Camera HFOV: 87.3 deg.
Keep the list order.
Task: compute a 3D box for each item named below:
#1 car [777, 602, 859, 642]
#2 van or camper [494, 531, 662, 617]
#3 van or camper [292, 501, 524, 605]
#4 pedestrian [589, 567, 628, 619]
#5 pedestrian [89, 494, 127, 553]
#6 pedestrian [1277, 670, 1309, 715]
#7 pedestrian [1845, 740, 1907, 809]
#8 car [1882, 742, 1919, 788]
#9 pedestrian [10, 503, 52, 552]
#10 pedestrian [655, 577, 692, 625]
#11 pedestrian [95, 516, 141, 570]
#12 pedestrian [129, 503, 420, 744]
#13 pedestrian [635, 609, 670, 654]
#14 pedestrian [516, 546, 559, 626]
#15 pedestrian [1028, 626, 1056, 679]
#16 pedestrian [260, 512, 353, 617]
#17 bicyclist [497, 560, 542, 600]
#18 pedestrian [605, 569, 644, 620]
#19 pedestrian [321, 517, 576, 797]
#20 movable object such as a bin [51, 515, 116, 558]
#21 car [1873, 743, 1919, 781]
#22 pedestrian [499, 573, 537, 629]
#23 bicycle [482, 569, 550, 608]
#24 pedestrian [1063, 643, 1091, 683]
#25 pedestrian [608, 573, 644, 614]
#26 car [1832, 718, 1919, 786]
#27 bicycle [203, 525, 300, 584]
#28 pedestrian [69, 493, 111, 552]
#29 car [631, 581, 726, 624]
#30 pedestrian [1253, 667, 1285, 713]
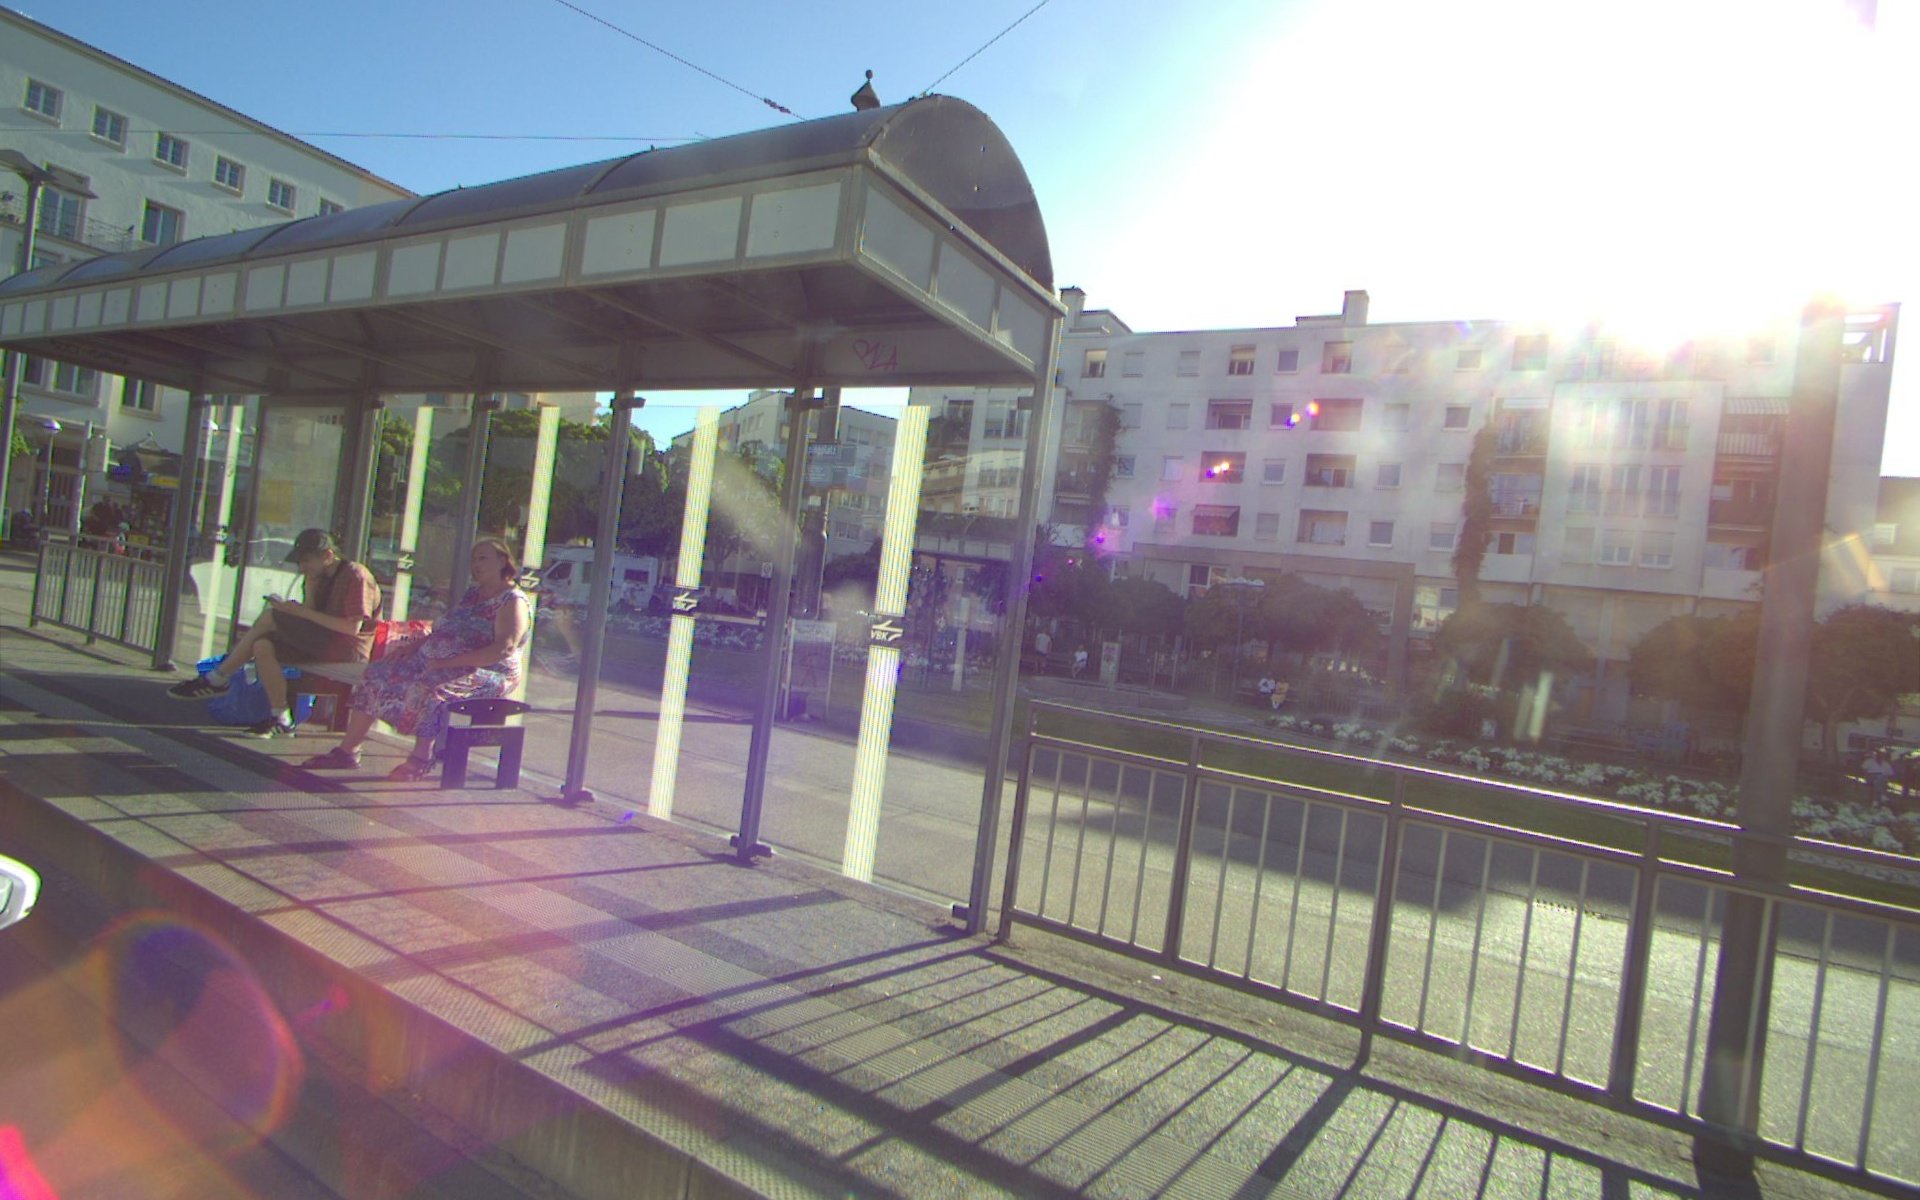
[{"bbox_3d":[-6.703,1.074,47.961,1.964,1.503,4.000,7,-1,23],"label":"car"},{"bbox_3d":[-16.493,-1.045,43.831,2.340,2.873,6.411,7,-1,35],"label":"van or camper"},{"bbox_3d":[-20.411,-1.620,37.684,2.331,2.780,7.132,9,0,32],"label":"van or camper"},{"bbox_3d":[-12.390,-0.240,35.434,0.684,1.705,0.902,7,0,35],"label":"pedestrian"},{"bbox_3d":[-28.594,-2.575,33.759,0.649,1.861,0.653,7,0,35],"label":"pedestrian"},{"bbox_3d":[10.309,2.858,31.138,0.718,1.287,0.745,7,0,11],"label":"pedestrian"},{"bbox_3d":[21.615,4.092,23.772,0.923,1.428,1.521,7,-1,42],"label":"pedestrian"},{"bbox_3d":[36.621,6.307,36.827,3.941,1.535,1.993,7,-1,38],"label":"car"},{"bbox_3d":[-27.974,-2.178,30.293,0.736,1.332,0.622,7,0,-35],"label":"pedestrian"},{"bbox_3d":[-10.289,0.039,36.112,0.651,1.604,0.902,7,0,35],"label":"pedestrian"},{"bbox_3d":[-25.253,-1.705,30.174,0.742,1.427,0.731,11,1,32],"label":"pedestrian"},{"bbox_3d":[-4.056,0.160,5.999,0.908,1.238,1.001,6,-4,32],"label":"pedestrian"},{"bbox_3d":[-11.593,1.195,37.953,0.651,1.604,0.902,7,0,35],"label":"pedestrian"},{"bbox_3d":[-9.794,-0.319,23.318,0.520,1.765,0.557,6,-1,42],"label":"pedestrian"},{"bbox_3d":[2.824,1.806,34.641,0.661,1.745,1.028,7,0,11],"label":"pedestrian"},{"bbox_3d":[-12.881,-0.696,19.841,1.110,1.900,0.983,6,-1,29],"label":"pedestrian"},{"bbox_3d":[-15.768,-0.718,36.011,0.936,1.239,0.935,8,-2,19],"label":"bicyclist"},{"bbox_3d":[-11.451,-0.174,34.341,0.651,1.604,0.902,7,0,35],"label":"pedestrian"},{"bbox_3d":[-2.733,0.321,5.438,0.613,1.348,0.861,6,-4,31],"label":"pedestrian"},{"bbox_3d":[-28.135,-2.036,32.308,1.197,1.167,1.200,7,-1,32],"label":"movable object such as a bin"},{"bbox_3d":[39.748,6.782,40.669,3.941,1.303,1.993,7,-1,38],"label":"car"},{"bbox_3d":[-9.978,0.015,22.711,0.550,1.182,0.469,6,-2,40],"label":"pedestrian"},{"bbox_3d":[-15.852,-0.377,35.984,0.707,1.073,2.326,8,-3,19],"label":"bicycle"},{"bbox_3d":[4.053,2.177,34.780,0.718,1.287,1.042,7,0,11],"label":"pedestrian"},{"bbox_3d":[-11.687,-0.234,35.206,0.595,1.295,0.902,7,-1,35],"label":"pedestrian"},{"bbox_3d":[43.934,7.138,45.325,6.284,2.585,2.813,7,-1,27],"label":"car"},{"bbox_3d":[-23.530,-1.480,33.481,0.714,1.548,2.391,7,-3,31],"label":"bicycle"},{"bbox_3d":[-29.508,-2.626,34.125,0.667,1.861,0.785,7,0,35],"label":"pedestrian"},{"bbox_3d":[-13.889,0.126,49.838,1.974,1.529,3.982,6,-3,43],"label":"car"},{"bbox_3d":[9.607,2.791,31.274,0.718,1.287,0.745,7,0,11],"label":"pedestrian"}]
